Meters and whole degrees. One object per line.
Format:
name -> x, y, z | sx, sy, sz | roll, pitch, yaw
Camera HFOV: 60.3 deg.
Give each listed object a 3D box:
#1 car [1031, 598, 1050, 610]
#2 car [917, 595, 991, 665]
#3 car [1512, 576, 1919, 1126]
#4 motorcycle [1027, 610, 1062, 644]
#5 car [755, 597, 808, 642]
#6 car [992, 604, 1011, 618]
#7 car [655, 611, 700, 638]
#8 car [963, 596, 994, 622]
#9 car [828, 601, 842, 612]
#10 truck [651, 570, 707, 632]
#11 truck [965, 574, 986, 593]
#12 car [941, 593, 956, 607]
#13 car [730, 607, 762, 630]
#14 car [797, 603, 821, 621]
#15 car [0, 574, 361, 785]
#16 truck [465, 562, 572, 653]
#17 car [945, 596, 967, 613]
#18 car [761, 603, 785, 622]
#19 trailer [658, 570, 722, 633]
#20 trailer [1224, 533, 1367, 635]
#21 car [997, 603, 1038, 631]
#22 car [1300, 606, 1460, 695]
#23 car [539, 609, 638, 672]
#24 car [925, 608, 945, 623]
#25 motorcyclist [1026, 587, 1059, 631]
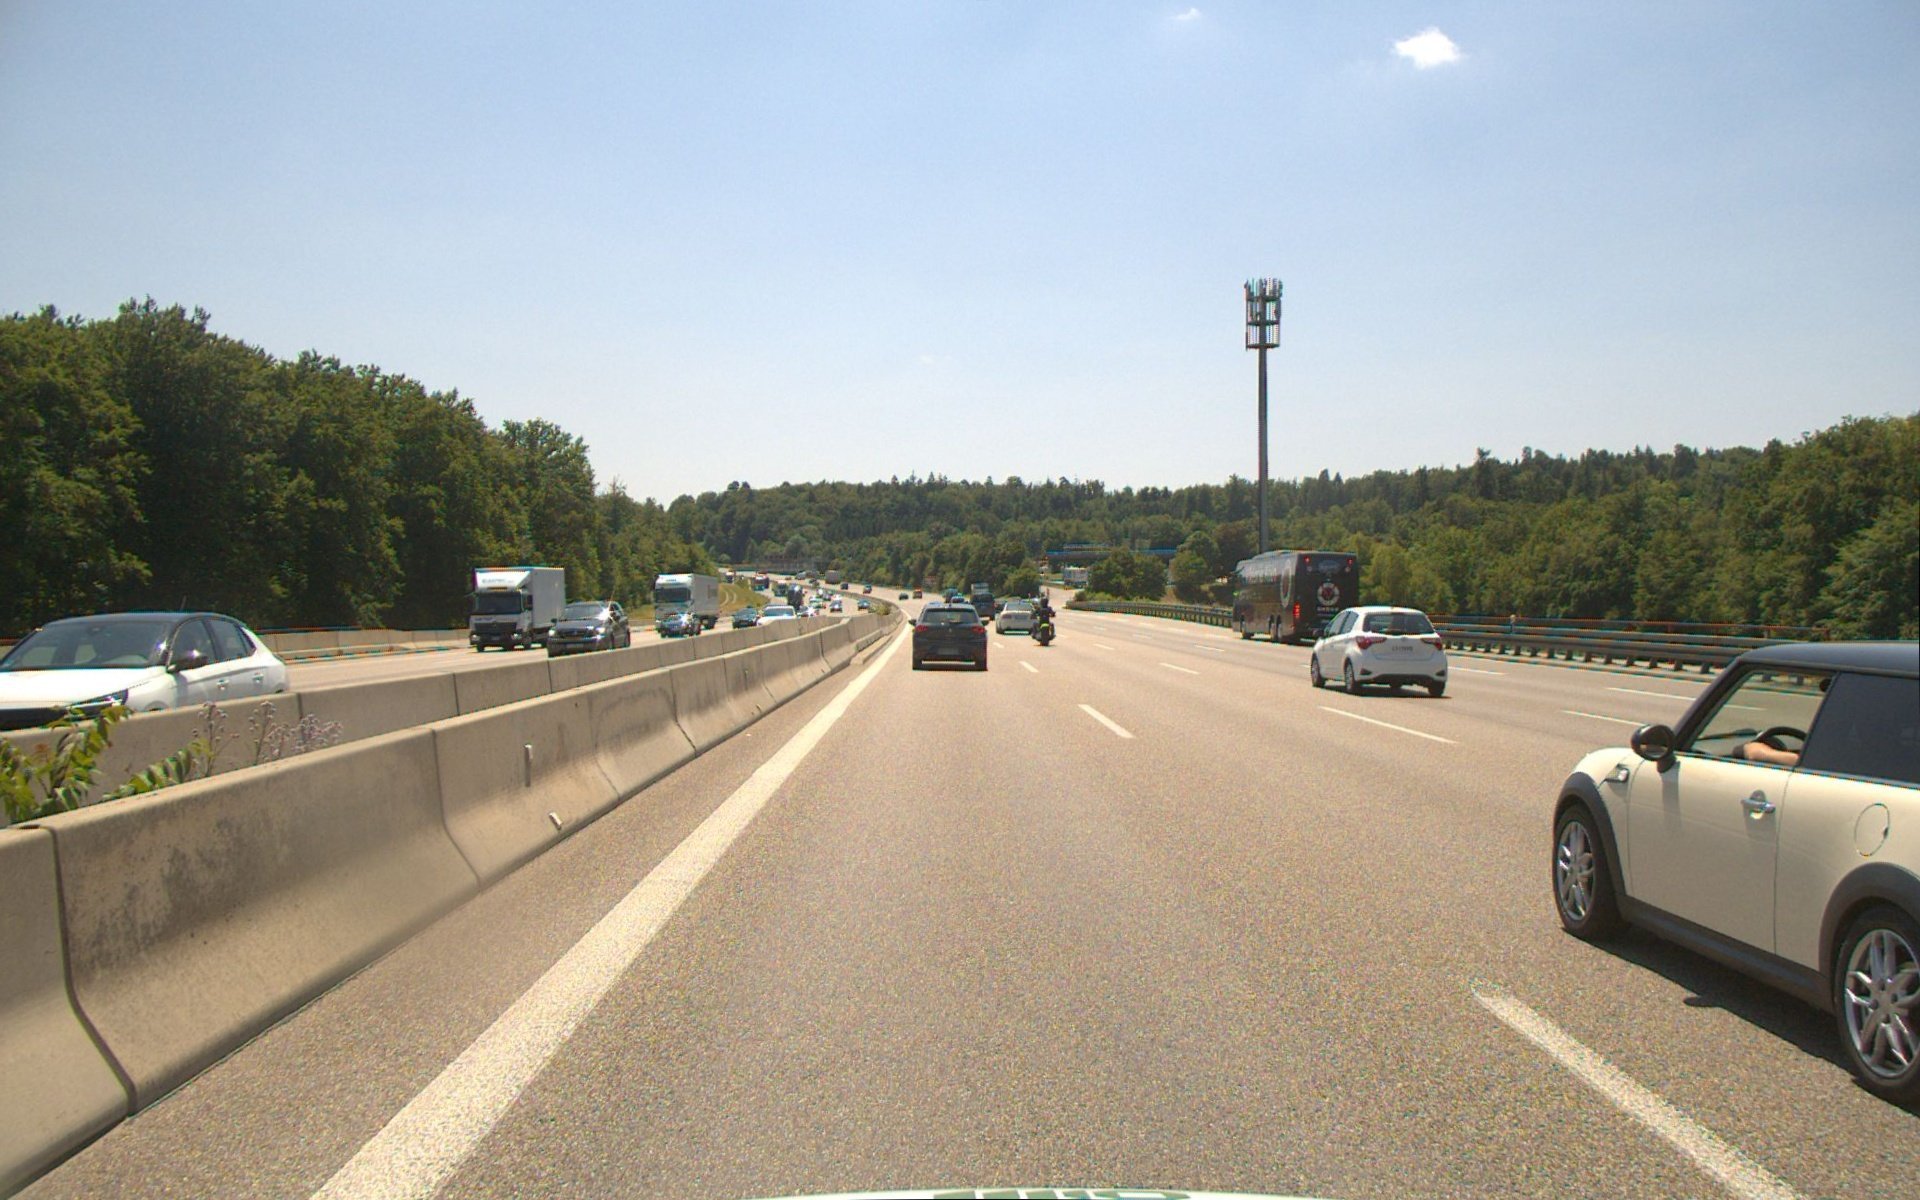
car -> 8.128, 0.395, 167.210 | 1.576, 1.233, 3.458 | -1, 0, -2
car -> -0.147, 0.713, 37.519 | 1.591, 1.513, 3.684 | 0, -2, -1
car -> 3.749, 0.725, 6.508 | 1.803, 1.579, 4.000 | 0, 2, 0
motorcycle -> 2.925, 0.930, 57.347 | 0.958, 1.149, 2.269 | -1, 0, -4
car -> -8.094, 0.849, 75.396 | 1.737, 1.912, 5.211 | 1, 1, 0
car -> 4.002, 1.056, 158.575 | 1.576, 1.233, 3.458 | -1, 0, -2
car -> -15.397, 1.328, 90.422 | 1.761, 1.400, 4.530 | 1, 0, -1
car -> 1.350, 0.658, 123.272 | 2.055, 1.884, 4.078 | -1, 0, -3
car -> -17.557, 0.861, 232.385 | 1.731, 1.504, 4.480 | -1, 0, -1
truck -> -19.954, 0.071, 118.018 | 2.660, 4.171, 7.874 | -2, 0, -1
truck -> 2.370, -2.535, 254.938 | 2.673, 2.835, 5.677 | 1, 1, -5
car -> -1.855, -0.006, 260.428 | 1.955, 2.049, 4.670 | 1, 1, -5
car -> -15.192, 1.279, 117.561 | 1.761, 1.507, 4.396 | -2, 0, -1
car -> -13.417, 1.031, 146.966 | 1.761, 1.507, 4.719 | -1, 0, -1
car -> -7.292, 0.611, 15.037 | 1.811, 1.550, 5.317 | -2, 0, -1
truck -> -19.192, 0.299, 72.417 | 2.488, 3.633, 8.574 | -2, 0, -2
car -> -0.435, 0.430, 178.689 | 1.955, 1.713, 4.419 | 1, 1, -5
car -> -17.418, 1.180, 154.133 | 1.761, 1.672, 5.077 | -2, -1, -1
trailer -> -20.097, 0.102, 124.067 | 2.589, 4.298, 14.357 | -2, 0, -1
trailer -> 13.532, -0.536, 68.116 | 2.799, 3.752, 13.538 | -1, 0, -1
car -> 2.652, 0.782, 77.208 | 1.746, 1.287, 3.459 | -1, 0, -1
car -> 7.418, 0.844, 29.621 | 1.632, 1.459, 4.374 | 0, 0, -2
car -> -11.130, 1.174, 49.869 | 1.953, 1.765, 4.923 | -1, 0, -1
car -> -2.126, 1.272, 139.370 | 1.506, 1.233, 3.456 | -1, 0, -5
motorcyclist -> 2.869, 0.306, 57.491 | 0.943, 1.462, 1.233 | -2, 0, -5
